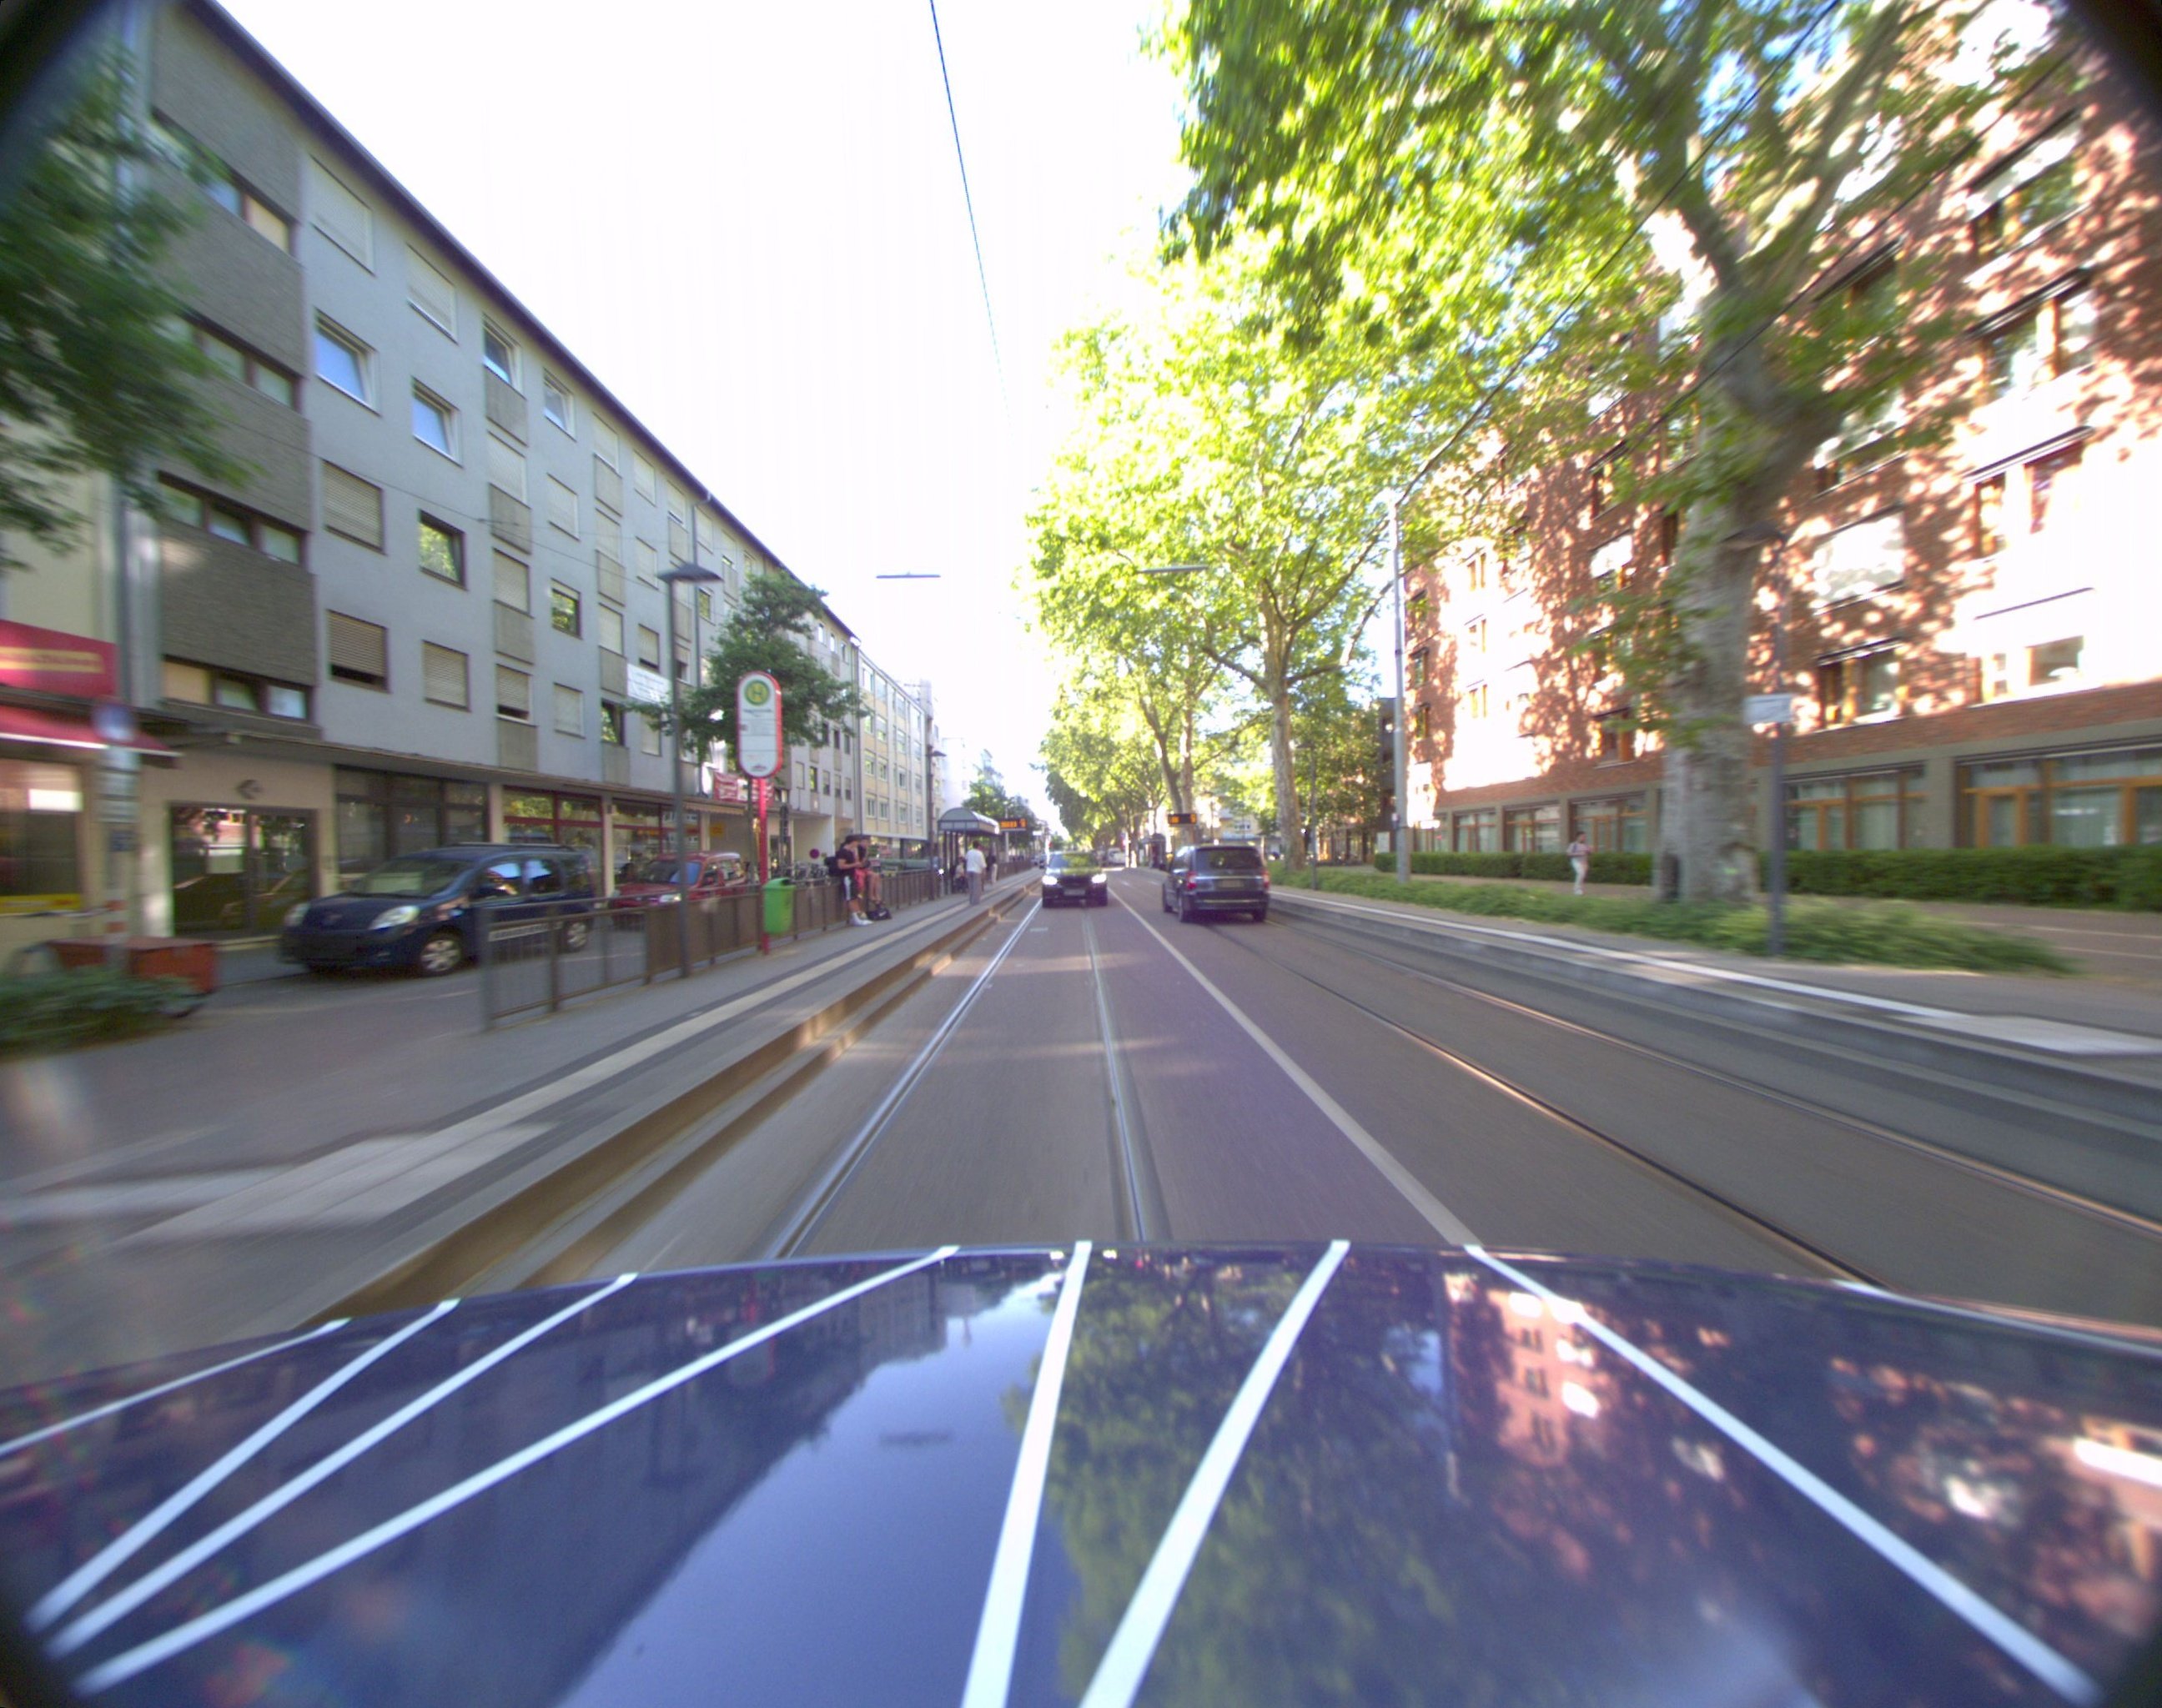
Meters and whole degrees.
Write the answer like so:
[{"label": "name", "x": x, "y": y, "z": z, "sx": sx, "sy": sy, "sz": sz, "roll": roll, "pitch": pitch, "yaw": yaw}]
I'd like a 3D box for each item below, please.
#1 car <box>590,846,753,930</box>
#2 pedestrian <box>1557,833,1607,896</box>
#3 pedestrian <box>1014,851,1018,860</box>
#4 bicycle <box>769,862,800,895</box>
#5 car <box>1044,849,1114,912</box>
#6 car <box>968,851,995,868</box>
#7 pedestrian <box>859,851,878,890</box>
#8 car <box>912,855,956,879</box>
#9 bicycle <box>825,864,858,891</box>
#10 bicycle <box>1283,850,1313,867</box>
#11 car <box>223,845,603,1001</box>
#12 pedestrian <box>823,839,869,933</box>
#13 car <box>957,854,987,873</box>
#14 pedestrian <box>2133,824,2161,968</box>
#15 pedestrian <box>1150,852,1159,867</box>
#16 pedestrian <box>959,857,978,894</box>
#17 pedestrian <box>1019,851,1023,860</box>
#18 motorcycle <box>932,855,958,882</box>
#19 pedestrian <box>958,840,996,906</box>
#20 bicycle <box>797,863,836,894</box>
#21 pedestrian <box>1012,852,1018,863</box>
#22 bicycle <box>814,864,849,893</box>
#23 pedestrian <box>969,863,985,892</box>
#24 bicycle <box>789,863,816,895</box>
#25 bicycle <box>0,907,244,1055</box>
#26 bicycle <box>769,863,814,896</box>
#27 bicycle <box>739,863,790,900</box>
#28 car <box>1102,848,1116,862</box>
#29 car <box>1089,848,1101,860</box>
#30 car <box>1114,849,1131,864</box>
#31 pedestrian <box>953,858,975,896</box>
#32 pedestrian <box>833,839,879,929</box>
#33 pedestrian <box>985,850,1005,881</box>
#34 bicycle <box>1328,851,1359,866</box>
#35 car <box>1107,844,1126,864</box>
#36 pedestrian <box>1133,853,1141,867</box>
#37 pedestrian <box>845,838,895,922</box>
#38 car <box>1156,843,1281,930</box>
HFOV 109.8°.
[{"label": "car", "x": -9.660, "y": 0.714, "z": 18.343, "sx": 1.693, "sy": 1.745, "sz": 4.173, "roll": -2, "pitch": 1, "yaw": -2}, {"label": "pedestrian", "x": 14.215, "y": 0.294, "z": 21.581, "sx": 0.765, "sy": 1.734, "sz": 0.972, "roll": -2, "pitch": 1, "yaw": 0}, {"label": "pedestrian", "x": -12.405, "y": 0.323, "z": 144.418, "sx": 0.685, "sy": 1.645, "sz": 0.836, "roll": -2, "pitch": 1, "yaw": -2}, {"label": "bicycle", "x": -11.698, "y": 0.935, "z": 30.080, "sx": 0.774, "sy": 1.173, "sz": 2.779, "roll": 4, "pitch": -1, "yaw": -15}, {"label": "car", "x": -0.132, "y": 0.734, "z": 24.426, "sx": 1.937, "sy": 1.718, "sz": 5.071, "roll": -3, "pitch": 1, "yaw": -1}, {"label": "car", "x": -9.780, "y": 0.513, "z": 74.942, "sx": 1.998, "sy": 1.583, "sz": 3.999, "roll": -2, "pitch": 1, "yaw": 0}, {"label": "pedestrian", "x": -10.122, "y": 0.772, "z": 36.205, "sx": 0.680, "sy": 1.794, "sz": 0.772, "roll": -3, "pitch": 2, "yaw": -8}, {"label": "car", "x": -10.113, "y": 0.848, "z": 52.610, "sx": 1.958, "sy": 1.474, "sz": 4.660, "roll": -3, "pitch": 1, "yaw": 2}, {"label": "bicycle", "x": -11.099, "y": 1.068, "z": 35.265, "sx": 0.773, "sy": 1.173, "sz": 2.782, "roll": 4, "pitch": -1, "yaw": -4}, {"label": "bicycle", "x": 16.264, "y": 0.310, "z": 56.932, "sx": 2.098, "sy": 1.182, "sz": 0.882, "roll": -2, "pitch": 1, "yaw": 16}, {"label": "car", "x": -9.704, "y": 0.855, "z": 11.622, "sx": 1.998, "sy": 1.885, "sz": 4.194, "roll": 2, "pitch": 0, "yaw": 2}, {"label": "pedestrian", "x": -4.509, "y": 0.600, "z": 14.613, "sx": 0.690, "sy": 1.745, "sz": 0.580, "roll": -2, "pitch": 1, "yaw": -7}, {"label": "car", "x": -9.830, "y": 0.851, "z": 68.805, "sx": 1.998, "sy": 1.572, "sz": 3.999, "roll": -2, "pitch": 1, "yaw": 0}, {"label": "pedestrian", "x": 12.862, "y": 0.480, "z": 8.527, "sx": 0.740, "sy": 1.662, "sz": 0.968, "roll": -2, "pitch": 1, "yaw": 1}, {"label": "pedestrian", "x": 6.312, "y": 0.464, "z": 65.291, "sx": 0.708, "sy": 1.197, "sz": 0.473, "roll": -2, "pitch": 1, "yaw": 1}, {"label": "pedestrian", "x": -4.097, "y": 0.761, "z": 27.607, "sx": 0.586, "sy": 1.297, "sz": 0.526, "roll": -3, "pitch": 1, "yaw": -11}, {"label": "pedestrian", "x": -11.451, "y": 0.286, "z": 144.494, "sx": 0.685, "sy": 1.645, "sz": 0.836, "roll": -2, "pitch": 1, "yaw": -2}, {"label": "motorcycle", "x": -7.882, "y": 0.839, "z": 44.065, "sx": 1.054, "sy": 1.446, "sz": 2.208, "roll": -2, "pitch": 1, "yaw": 0}, {"label": "pedestrian", "x": -2.764, "y": 0.493, "z": 20.277, "sx": 0.836, "sy": 1.703, "sz": 0.640, "roll": -2, "pitch": 1, "yaw": 1}, {"label": "bicycle", "x": -10.952, "y": 1.009, "z": 31.601, "sx": 0.773, "sy": 1.173, "sz": 2.782, "roll": 4, "pitch": -1, "yaw": -4}, {"label": "pedestrian", "x": -9.877, "y": 0.487, "z": 114.183, "sx": 0.752, "sy": 1.645, "sz": 0.970, "roll": -2, "pitch": 1, "yaw": -2}, {"label": "bicycle", "x": -10.858, "y": 1.058, "z": 33.174, "sx": 0.773, "sy": 1.173, "sz": 2.782, "roll": 4, "pitch": -1, "yaw": -4}, {"label": "pedestrian", "x": -3.837, "y": 0.856, "z": 27.930, "sx": 0.522, "sy": 1.049, "sz": 0.425, "roll": -2, "pitch": 1, "yaw": -11}, {"label": "bicycle", "x": -11.203, "y": 0.970, "z": 30.646, "sx": 0.774, "sy": 1.173, "sz": 2.779, "roll": 4, "pitch": -1, "yaw": -16}, {"label": "bicycle", "x": -9.546, "y": 1.143, "z": 7.132, "sx": 2.210, "sy": 1.203, "sz": 1.029, "roll": 0, "pitch": 1, "yaw": 0}, {"label": "bicycle", "x": -11.174, "y": 0.949, "z": 29.436, "sx": 0.773, "sy": 1.173, "sz": 2.782, "roll": 4, "pitch": -1, "yaw": -4}, {"label": "bicycle", "x": -11.124, "y": 0.937, "z": 26.819, "sx": 0.773, "sy": 1.173, "sz": 2.781, "roll": 2, "pitch": 0, "yaw": -4}, {"label": "car", "x": 4.987, "y": 0.120, "z": 135.361, "sx": 2.142, "sy": 2.274, "sz": 4.964, "roll": -3, "pitch": 1, "yaw": -1}, {"label": "car", "x": 2.995, "y": -0.052, "z": 162.055, "sx": 2.142, "sy": 2.274, "sz": 4.964, "roll": -3, "pitch": 1, "yaw": -1}, {"label": "car", "x": 5.793, "y": 0.305, "z": 107.209, "sx": 2.041, "sy": 1.881, "sz": 5.072, "roll": -3, "pitch": 1, "yaw": -1}, {"label": "pedestrian", "x": -4.174, "y": 0.822, "z": 27.108, "sx": 0.721, "sy": 1.318, "sz": 0.493, "roll": -2, "pitch": 1, "yaw": -11}, {"label": "pedestrian", "x": -4.535, "y": 0.594, "z": 15.324, "sx": 0.493, "sy": 1.760, "sz": 0.704, "roll": -2, "pitch": 1, "yaw": 20}, {"label": "pedestrian", "x": -4.432, "y": 0.583, "z": 39.153, "sx": 0.648, "sy": 1.567, "sz": 0.855, "roll": -2, "pitch": 1, "yaw": 18}, {"label": "bicycle", "x": 19.577, "y": 0.348, "z": 56.735, "sx": 0.823, "sy": 1.088, "sz": 2.033, "roll": -3, "pitch": 1, "yaw": -38}, {"label": "car", "x": 5.471, "y": -0.011, "z": 117.383, "sx": 2.429, "sy": 2.833, "sz": 5.072, "roll": -3, "pitch": 1, "yaw": -1}, {"label": "pedestrian", "x": 6.116, "y": 0.646, "z": 83.072, "sx": 0.708, "sy": 1.585, "sz": 0.561, "roll": -2, "pitch": 1, "yaw": 1}, {"label": "pedestrian", "x": -4.426, "y": 0.536, "z": 16.018, "sx": 0.847, "sy": 1.691, "sz": 0.692, "roll": -2, "pitch": 1, "yaw": -7}, {"label": "car", "x": 3.088, "y": 0.651, "z": 18.235, "sx": 1.999, "sy": 1.706, "sz": 5.142, "roll": -2, "pitch": 1, "yaw": 0}]
